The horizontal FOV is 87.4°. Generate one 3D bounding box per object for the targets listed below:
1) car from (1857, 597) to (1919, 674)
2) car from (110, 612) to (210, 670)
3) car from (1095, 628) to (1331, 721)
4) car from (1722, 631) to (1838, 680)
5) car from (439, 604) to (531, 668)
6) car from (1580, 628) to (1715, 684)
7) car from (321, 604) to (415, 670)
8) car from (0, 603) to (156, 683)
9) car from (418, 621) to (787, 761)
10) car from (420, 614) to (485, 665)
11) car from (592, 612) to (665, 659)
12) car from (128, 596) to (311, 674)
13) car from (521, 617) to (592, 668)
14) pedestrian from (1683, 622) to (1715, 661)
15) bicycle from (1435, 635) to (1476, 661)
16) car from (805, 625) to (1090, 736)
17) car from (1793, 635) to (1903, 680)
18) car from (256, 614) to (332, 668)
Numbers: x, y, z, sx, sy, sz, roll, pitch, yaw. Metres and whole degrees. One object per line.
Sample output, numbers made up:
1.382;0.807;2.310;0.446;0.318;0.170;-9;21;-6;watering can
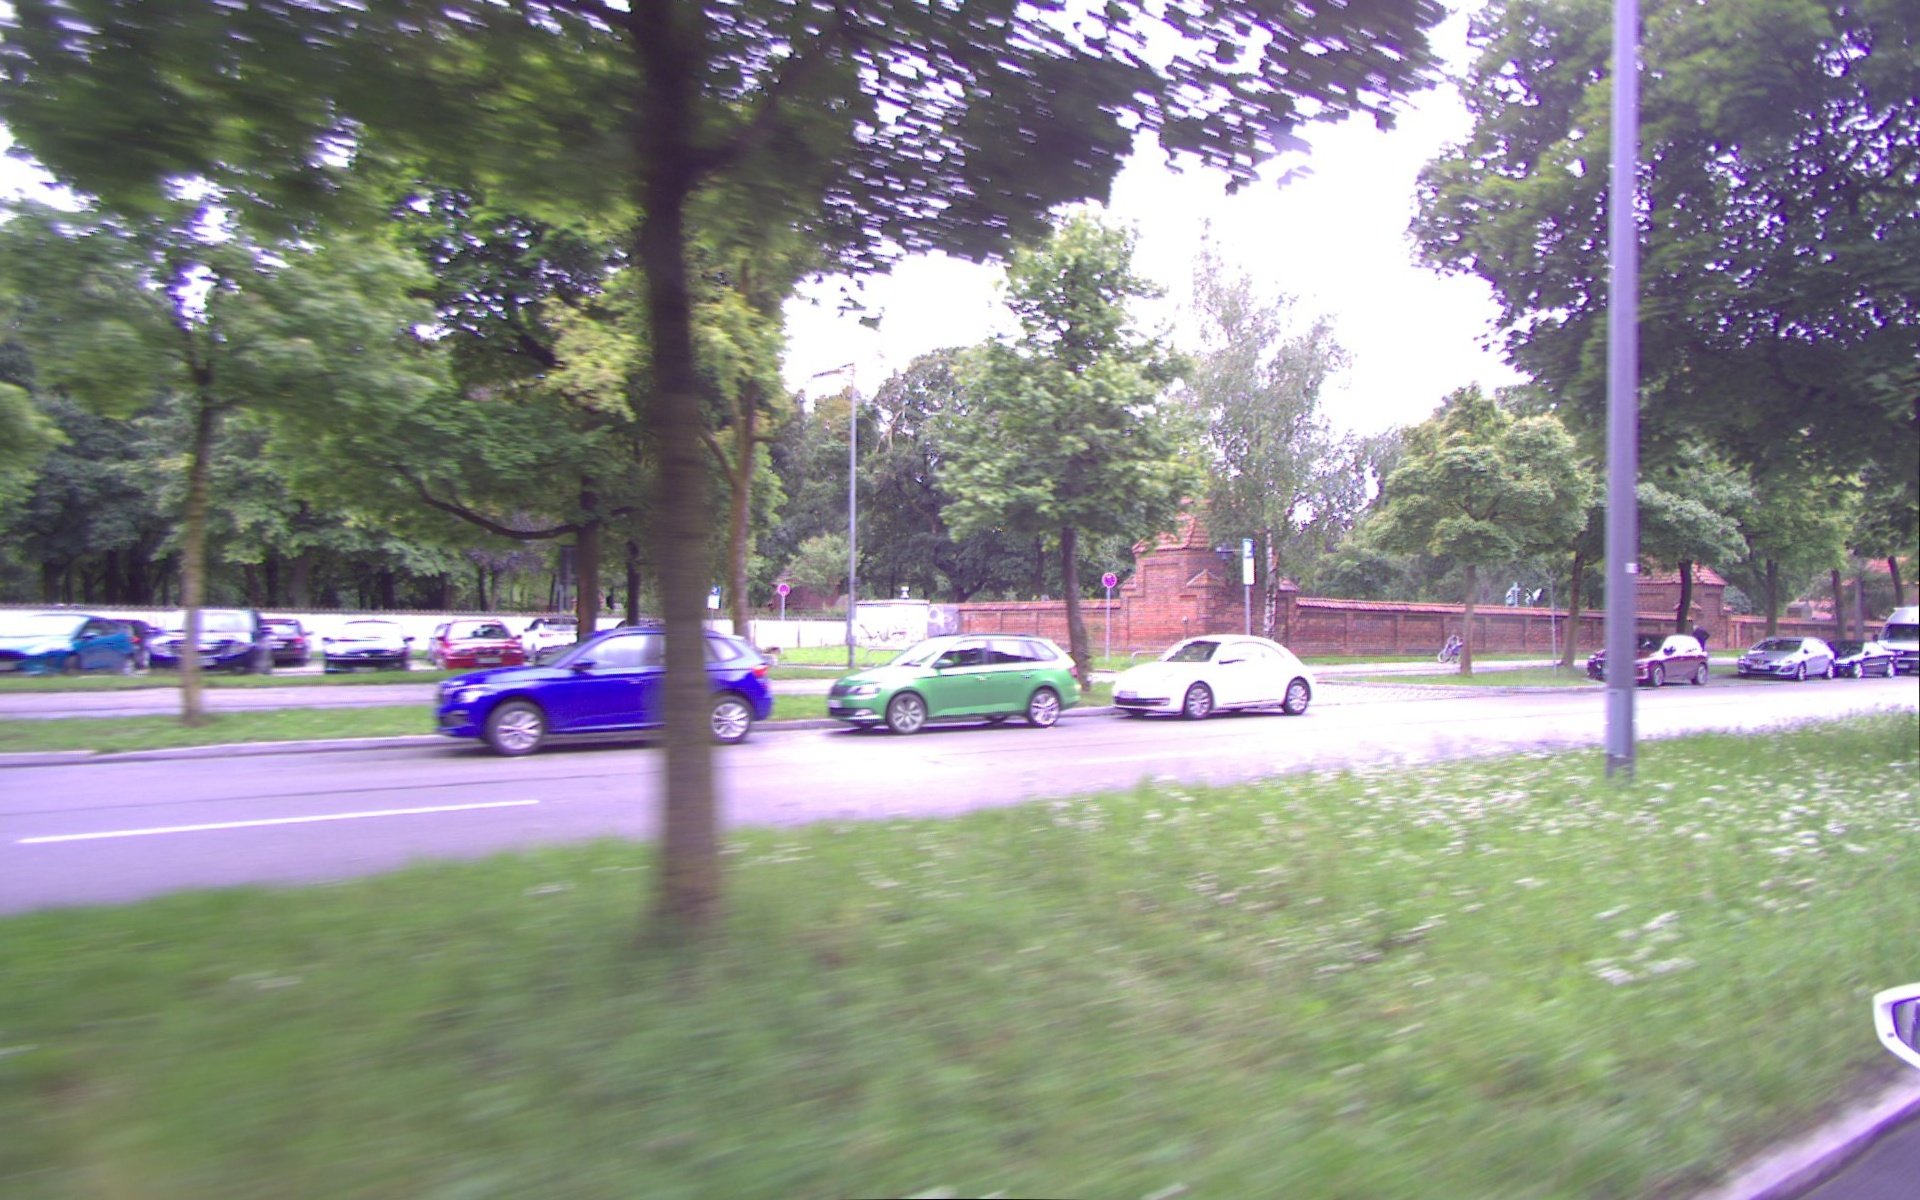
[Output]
39.825;1.449;41.774;6.124;2.993;2.173;1;0;-33;car
-24.460;1.208;30.840;1.794;1.557;3.967;1;1;-30;car
4.749;1.334;18.720;4.264;1.557;1.753;1;-3;-30;car
29.032;1.927;35.526;4.390;1.557;1.804;1;0;-31;car
-11.628;0.831;24.432;1.738;1.410;4.394;1;-1;-29;car
20.973;1.663;30.626;4.249;1.557;1.804;1;0;-31;car
-13.826;0.837;23.603;1.738;1.410;3.960;1;-1;-29;car
-18.968;0.842;20.979;1.967;1.524;3.987;1;-1;-16;car
-4.613;1.102;13.146;4.266;1.557;1.877;1;-4;-32;car
-17.823;1.349;35.177;1.794;1.557;3.967;1;1;-30;car
-12.488;1.299;37.708;1.794;1.557;3.967;1;1;-30;car
-15.935;0.727;21.907;1.969;1.524;4.345;1;-1;-19;car
-14.497;1.478;35.969;1.794;1.557;3.967;1;1;-30;car
30.262;1.696;41.147;0.778;1.588;0.777;1;-1;6;pedestrian
18.606;1.807;37.741;1.602;0.949;0.651;1;-1;-33;bicycle
-0.148;1.208;15.868;4.264;1.557;1.631;1;-3;-31;car
33.996;2.155;38.418;4.764;1.557;1.804;1;0;-31;car
-21.788;1.299;32.984;1.794;1.557;3.967;1;1;-30;car
